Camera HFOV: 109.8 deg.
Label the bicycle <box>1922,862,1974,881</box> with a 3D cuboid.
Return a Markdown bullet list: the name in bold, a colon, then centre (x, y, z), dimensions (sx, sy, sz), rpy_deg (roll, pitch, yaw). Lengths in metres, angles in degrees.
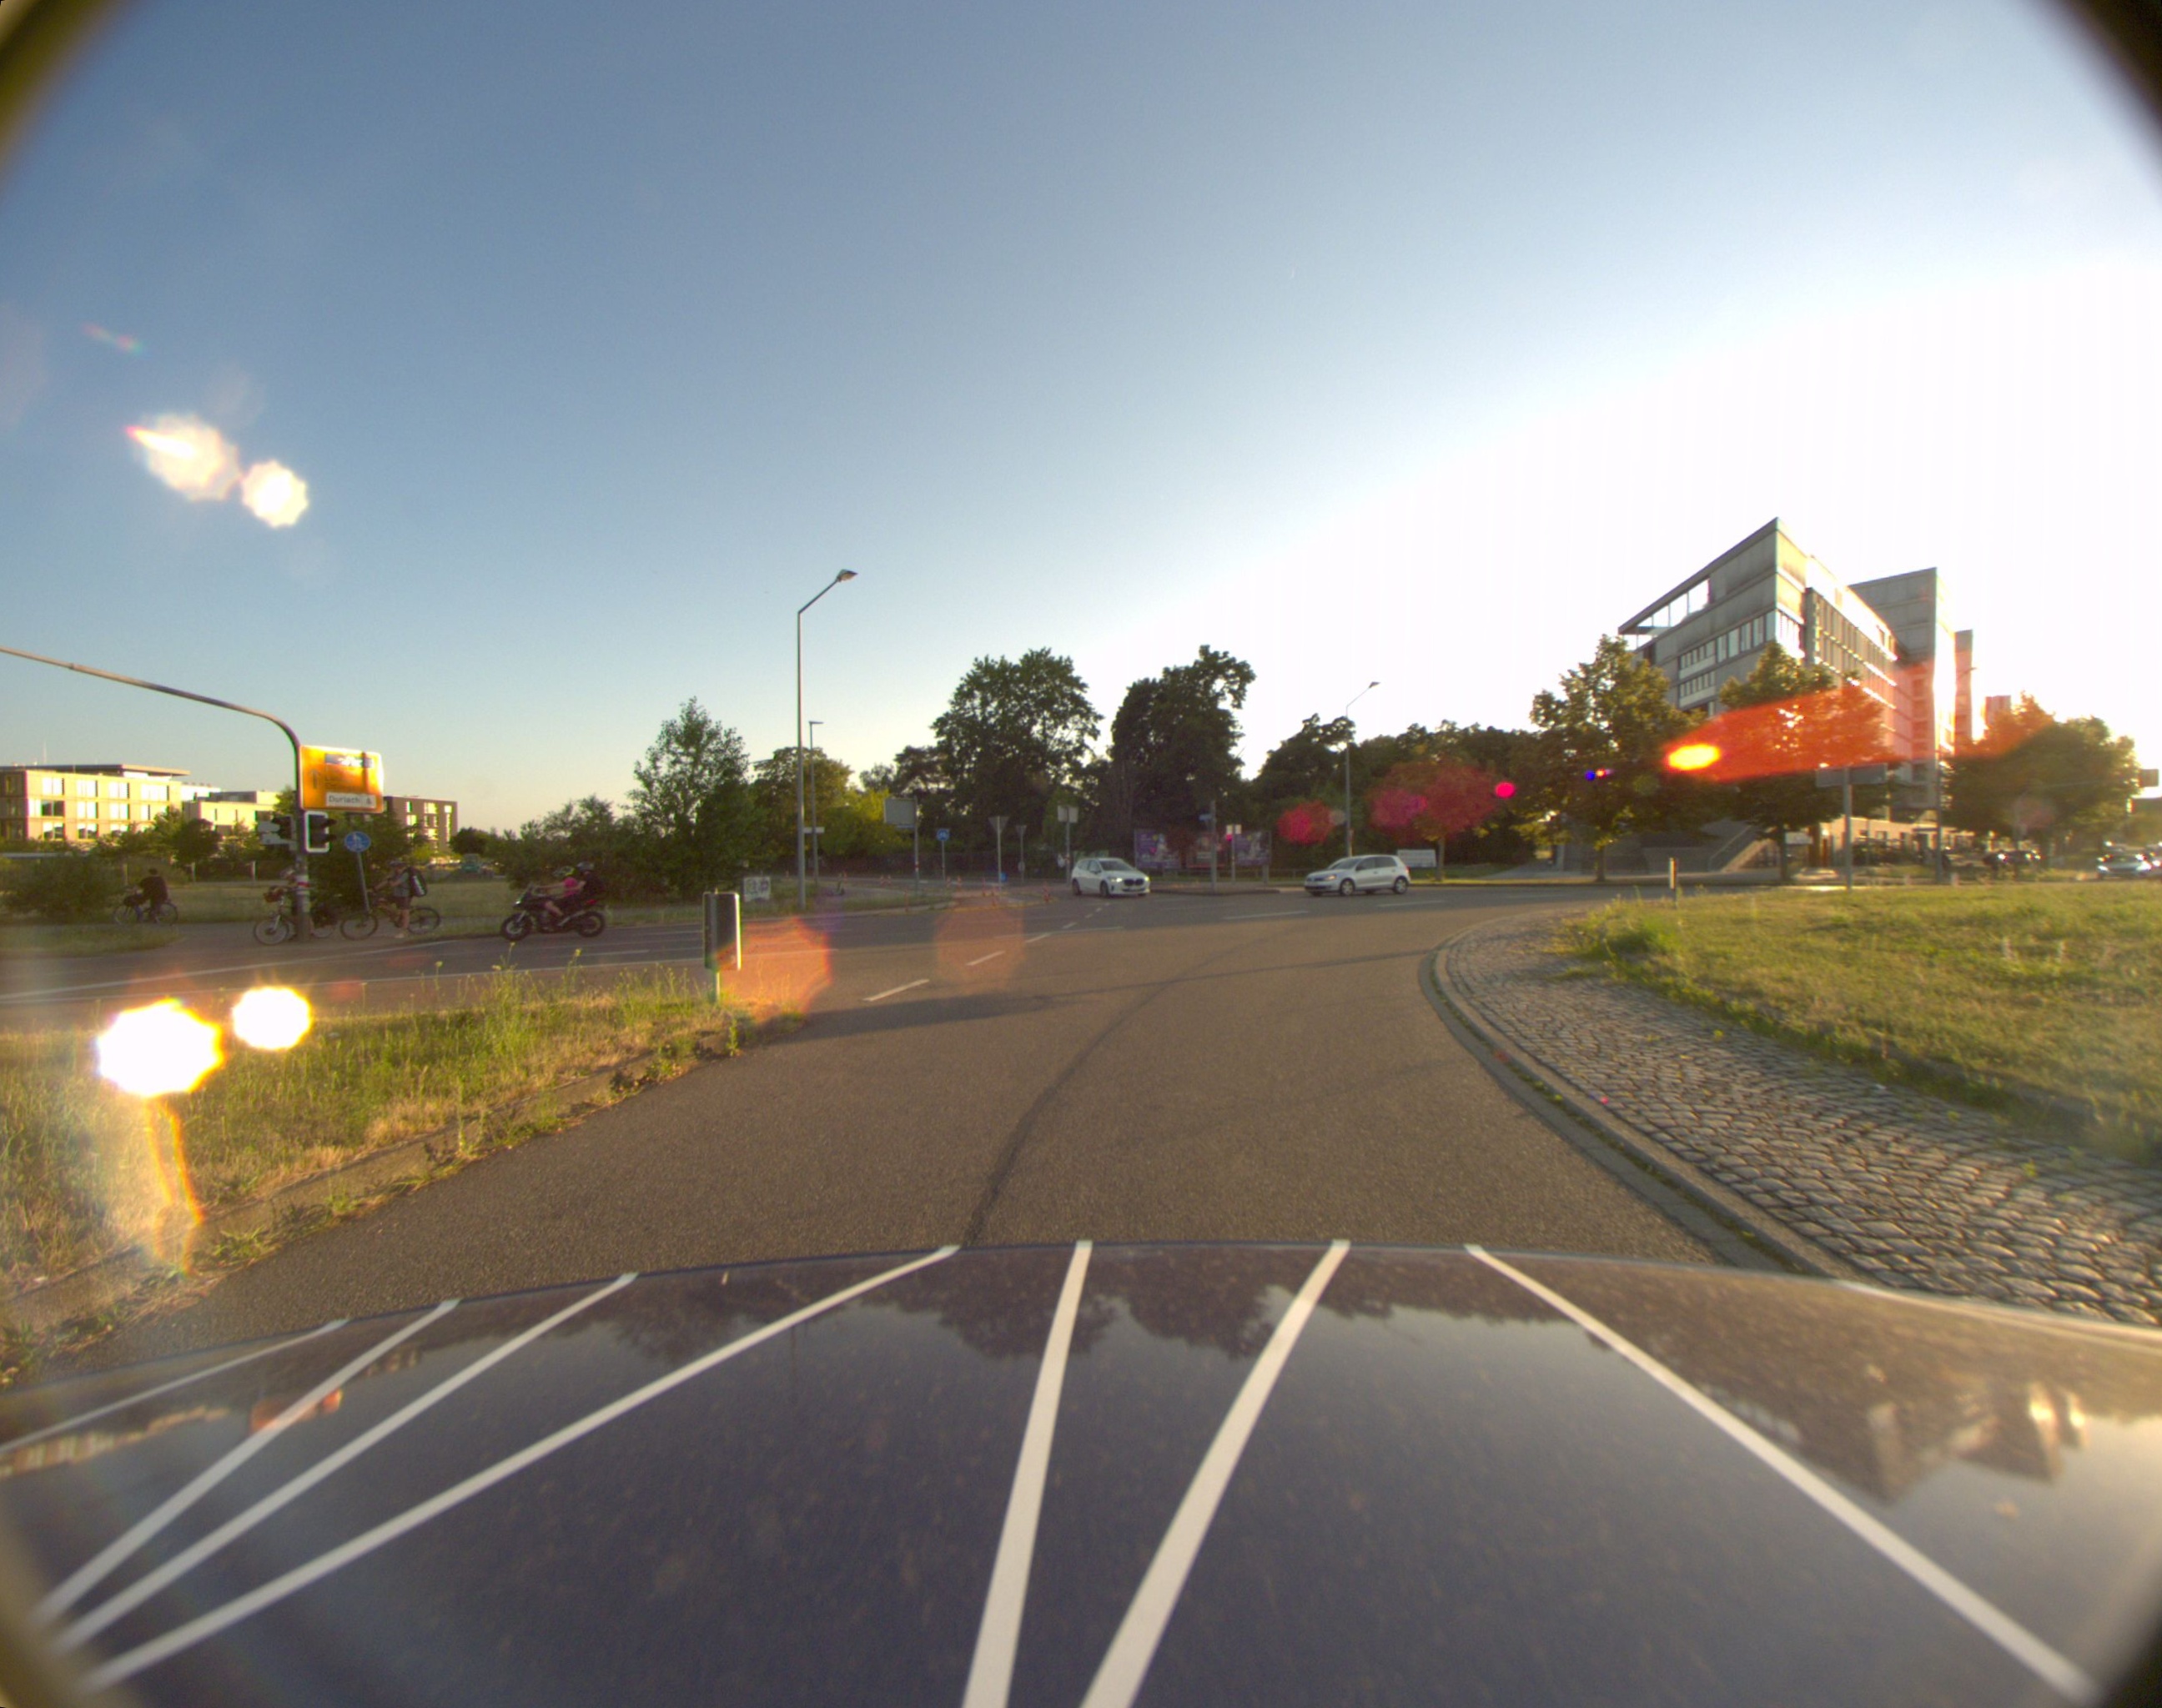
- **bicycle**: centre (47.081, 0.932, 41.286), dimensions (1.858, 1.016, 0.308), rpy_deg (-1, 0, 44)

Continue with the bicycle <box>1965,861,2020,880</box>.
- **bicycle**: centre (49.541, 0.885, 41.327), dimensions (0.438, 1.016, 1.859), rpy_deg (-1, 0, -29)

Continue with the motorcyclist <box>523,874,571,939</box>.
- **motorcyclist**: centre (-12.105, 1.170, 17.245), dimensions (0.715, 1.408, 0.687), rpy_deg (-1, 1, -22)

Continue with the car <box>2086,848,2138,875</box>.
- **car**: centre (61.057, 0.437, 45.045), dimensions (4.007, 1.455, 1.798), rpy_deg (-1, 1, -37)

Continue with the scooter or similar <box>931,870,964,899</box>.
- **scooter or similar**: centre (-5.543, 1.251, 31.630), dimensions (0.441, 1.156, 1.386), rpy_deg (0, 0, 39)

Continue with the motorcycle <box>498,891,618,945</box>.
- **motorcycle**: centre (-11.877, 1.443, 17.343), dimensions (2.162, 1.094, 0.557), rpy_deg (-1, 1, -20)

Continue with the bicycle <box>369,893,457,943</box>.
- **bicycle**: centre (-17.021, 1.607, 19.432), dimensions (0.456, 1.079, 1.928), rpy_deg (-1, 2, 2)

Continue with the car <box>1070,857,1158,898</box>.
- **car**: centre (1.274, 0.903, 31.019), dimensions (1.893, 1.549, 4.087), rpy_deg (-1, 0, -25)

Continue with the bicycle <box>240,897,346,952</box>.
- **bicycle**: centre (-19.044, 1.673, 18.437), dimensions (0.456, 1.079, 1.928), rpy_deg (-1, 3, 2)

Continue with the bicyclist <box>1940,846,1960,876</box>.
- **bicyclist**: centre (47.305, 0.376, 41.369), dimensions (0.682, 1.638, 0.685), rpy_deg (0, 0, 44)

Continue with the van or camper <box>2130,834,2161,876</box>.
- **van or camper**: centre (53.016, 0.003, 36.397), dimensions (5.334, 1.946, 1.996), rpy_deg (-1, 1, -22)

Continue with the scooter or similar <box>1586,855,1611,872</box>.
- **scooter or similar**: centre (39.311, 0.719, 57.754), dimensions (0.367, 1.213, 1.573), rpy_deg (-1, 0, -27)

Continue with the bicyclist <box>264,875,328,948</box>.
- **bicyclist**: centre (-19.040, 1.381, 18.447), dimensions (0.641, 1.693, 0.770), rpy_deg (-1, 3, 1)

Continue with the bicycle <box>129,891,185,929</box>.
- **bicycle**: centre (-27.288, 1.652, 22.437), dimensions (1.371, 1.082, 0.280), rpy_deg (-1, 0, 3)

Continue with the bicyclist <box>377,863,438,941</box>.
- **bicyclist**: centre (-17.065, 1.187, 19.264), dimensions (0.641, 1.887, 0.910), rpy_deg (-1, 2, 1)

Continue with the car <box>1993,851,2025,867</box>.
- **car**: centre (89.165, 0.487, 72.970), dimensions (4.008, 1.455, 1.798), rpy_deg (0, 0, -37)

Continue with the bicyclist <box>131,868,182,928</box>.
- **bicyclist**: centre (-27.329, 1.295, 22.467), dimensions (0.843, 1.733, 0.537), rpy_deg (-1, 0, 3)

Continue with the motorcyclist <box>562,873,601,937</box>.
- **motorcyclist**: centre (-11.488, 1.163, 17.497), dimensions (0.595, 1.400, 0.635), rpy_deg (-1, 1, -22)

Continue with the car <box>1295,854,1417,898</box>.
- **car**: centre (10.261, 0.767, 28.419), dimensions (4.055, 1.472, 1.889), rpy_deg (-1, 0, -22)

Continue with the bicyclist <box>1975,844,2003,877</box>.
- **bicyclist**: centre (49.233, 0.349, 41.189), dimensions (0.805, 1.745, 0.847), rpy_deg (-1, 0, -30)
